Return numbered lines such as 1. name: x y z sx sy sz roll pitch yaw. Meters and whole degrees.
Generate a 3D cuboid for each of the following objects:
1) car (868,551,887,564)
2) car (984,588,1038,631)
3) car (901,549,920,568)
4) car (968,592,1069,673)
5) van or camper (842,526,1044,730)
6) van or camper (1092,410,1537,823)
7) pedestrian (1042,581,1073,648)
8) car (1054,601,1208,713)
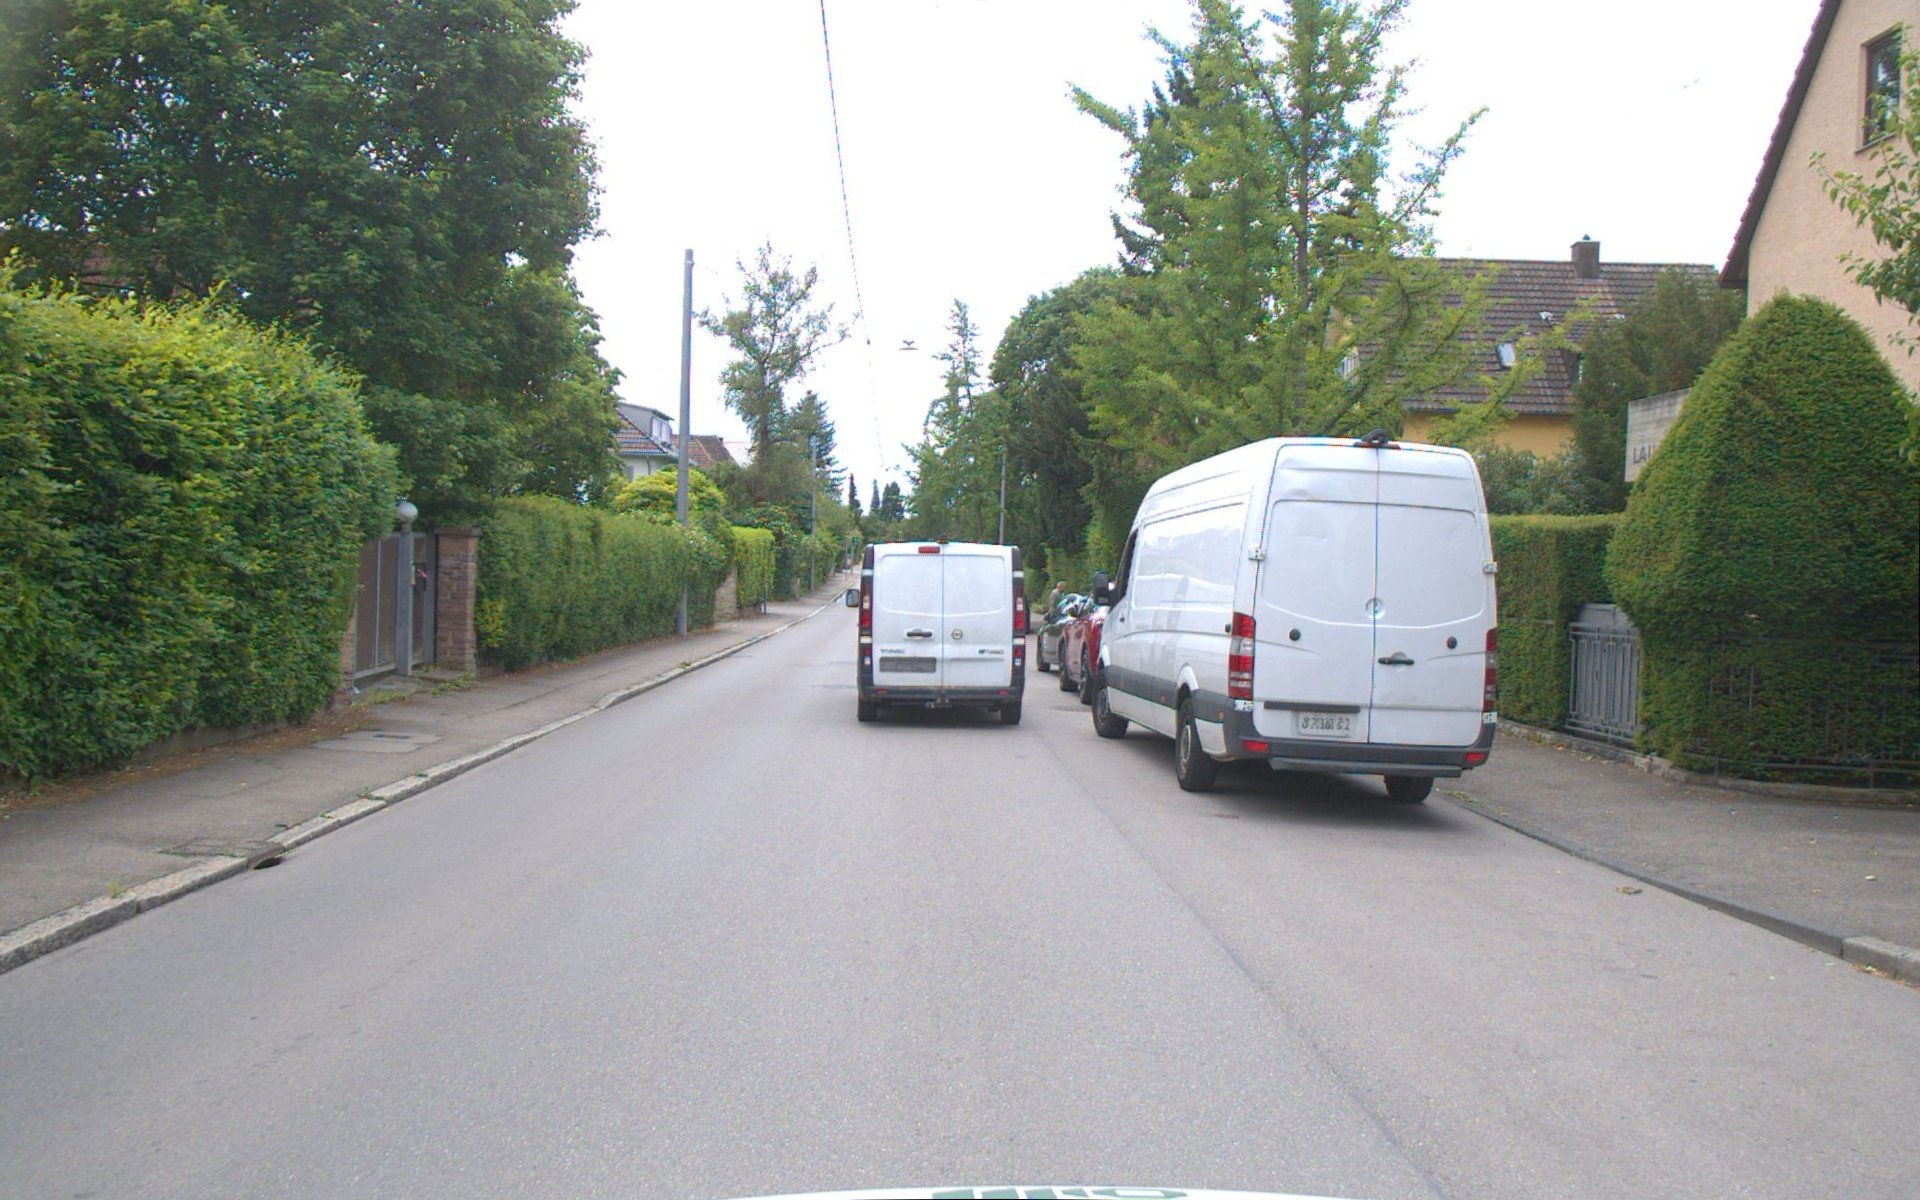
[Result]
1. car: -9.816 -5.068 197.051 1.653 1.501 3.584 1 1 5
2. car: 1.665 0.288 54.826 1.500 1.327 3.226 2 1 -3
3. car: -4.753 -3.986 158.554 1.741 1.679 3.643 1 2 -4
4. car: 1.040 0.562 31.157 1.500 1.327 4.029 2 1 -3
5. van or camper: -0.345 0.197 19.644 1.887 2.048 4.824 2 2 -6
6. van or camper: 2.670 0.092 14.386 2.026 2.721 6.323 2 0 -4
7. pedestrian: 2.337 0.344 39.670 0.546 1.586 0.551 1 2 -16
8. car: 2.310 0.732 23.216 1.500 1.327 4.029 2 1 -3
